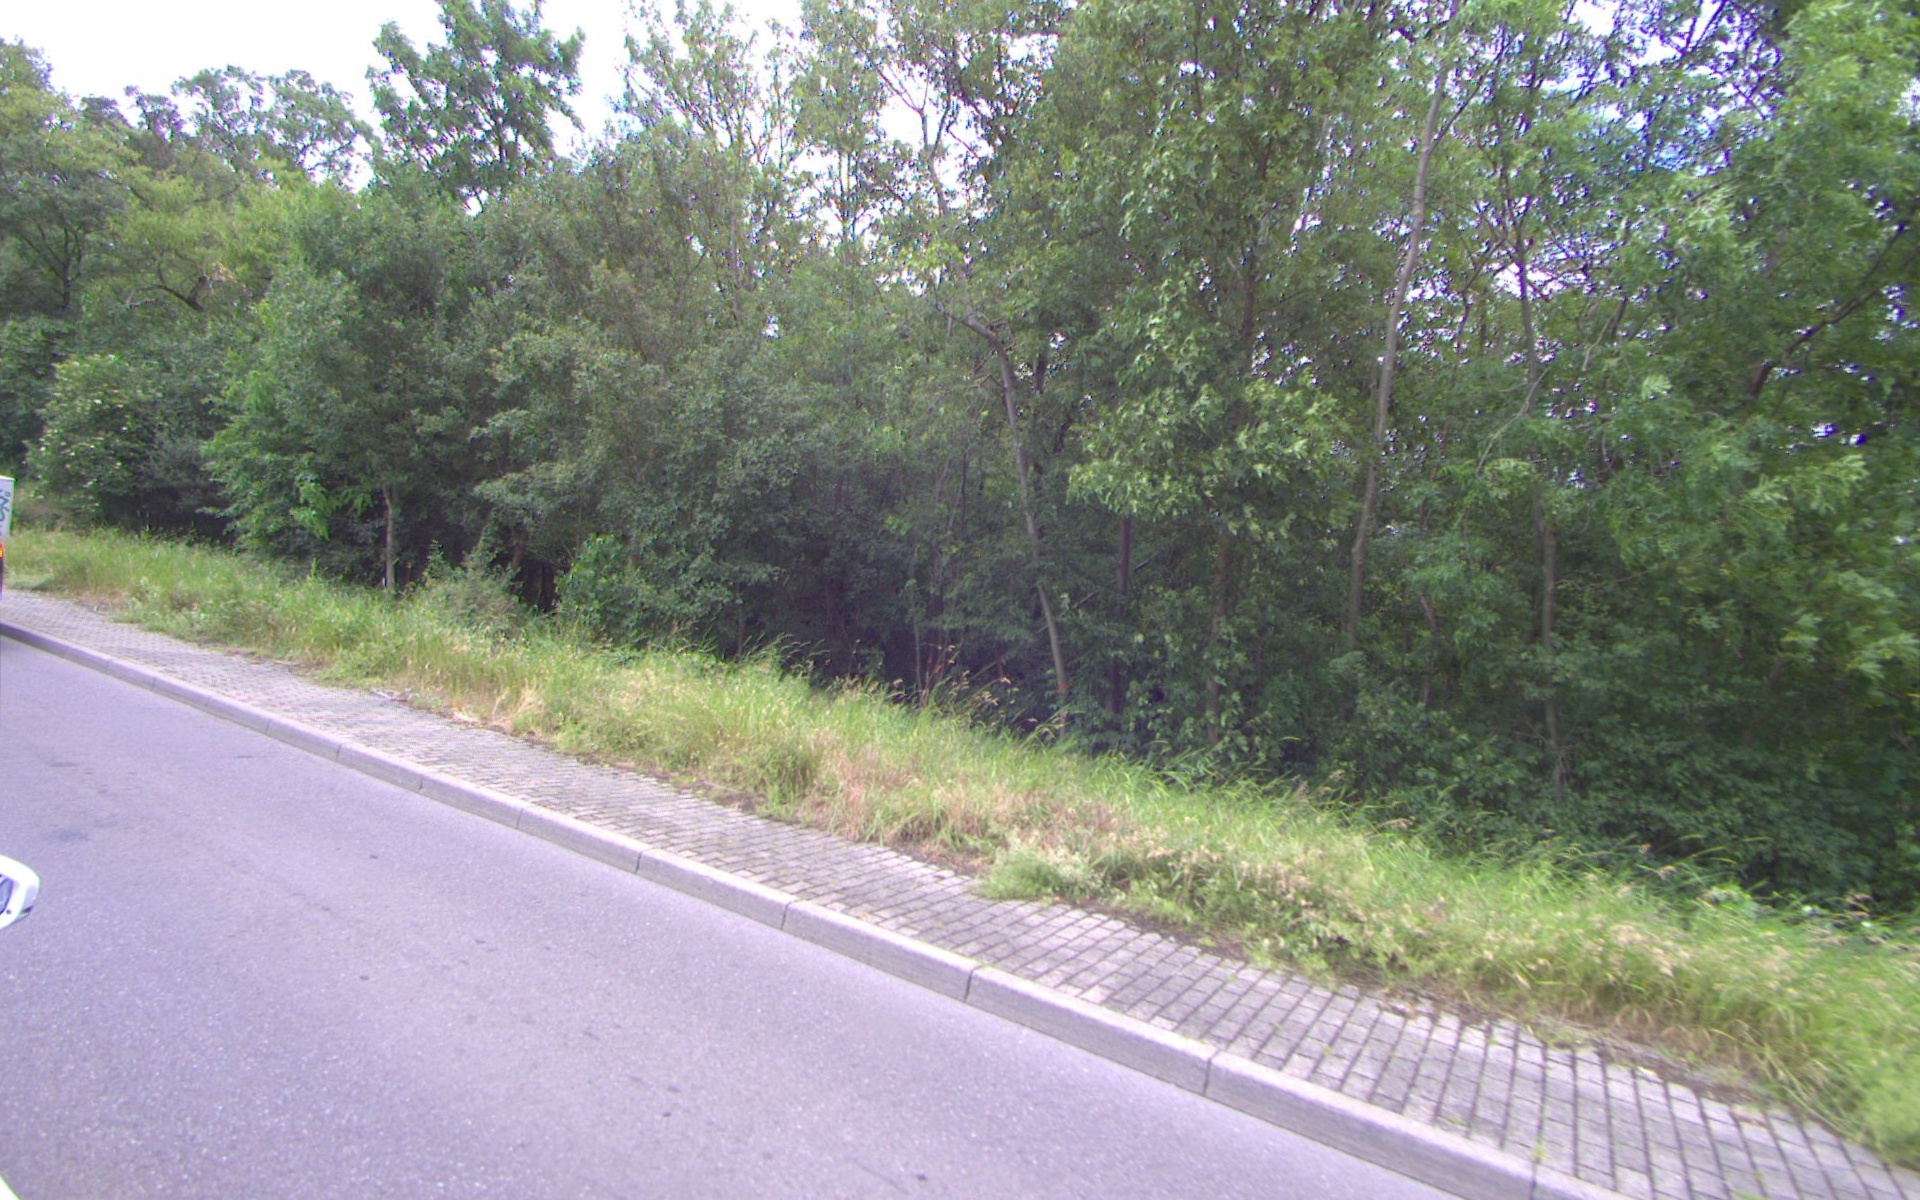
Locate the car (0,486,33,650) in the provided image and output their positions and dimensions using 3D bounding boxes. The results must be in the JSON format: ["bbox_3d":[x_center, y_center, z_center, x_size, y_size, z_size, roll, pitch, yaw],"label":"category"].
[{"bbox_3d":[-10.653,-0.545,9.480,3.934,1.468,1.795,7,0,33],"label":"car"}]
